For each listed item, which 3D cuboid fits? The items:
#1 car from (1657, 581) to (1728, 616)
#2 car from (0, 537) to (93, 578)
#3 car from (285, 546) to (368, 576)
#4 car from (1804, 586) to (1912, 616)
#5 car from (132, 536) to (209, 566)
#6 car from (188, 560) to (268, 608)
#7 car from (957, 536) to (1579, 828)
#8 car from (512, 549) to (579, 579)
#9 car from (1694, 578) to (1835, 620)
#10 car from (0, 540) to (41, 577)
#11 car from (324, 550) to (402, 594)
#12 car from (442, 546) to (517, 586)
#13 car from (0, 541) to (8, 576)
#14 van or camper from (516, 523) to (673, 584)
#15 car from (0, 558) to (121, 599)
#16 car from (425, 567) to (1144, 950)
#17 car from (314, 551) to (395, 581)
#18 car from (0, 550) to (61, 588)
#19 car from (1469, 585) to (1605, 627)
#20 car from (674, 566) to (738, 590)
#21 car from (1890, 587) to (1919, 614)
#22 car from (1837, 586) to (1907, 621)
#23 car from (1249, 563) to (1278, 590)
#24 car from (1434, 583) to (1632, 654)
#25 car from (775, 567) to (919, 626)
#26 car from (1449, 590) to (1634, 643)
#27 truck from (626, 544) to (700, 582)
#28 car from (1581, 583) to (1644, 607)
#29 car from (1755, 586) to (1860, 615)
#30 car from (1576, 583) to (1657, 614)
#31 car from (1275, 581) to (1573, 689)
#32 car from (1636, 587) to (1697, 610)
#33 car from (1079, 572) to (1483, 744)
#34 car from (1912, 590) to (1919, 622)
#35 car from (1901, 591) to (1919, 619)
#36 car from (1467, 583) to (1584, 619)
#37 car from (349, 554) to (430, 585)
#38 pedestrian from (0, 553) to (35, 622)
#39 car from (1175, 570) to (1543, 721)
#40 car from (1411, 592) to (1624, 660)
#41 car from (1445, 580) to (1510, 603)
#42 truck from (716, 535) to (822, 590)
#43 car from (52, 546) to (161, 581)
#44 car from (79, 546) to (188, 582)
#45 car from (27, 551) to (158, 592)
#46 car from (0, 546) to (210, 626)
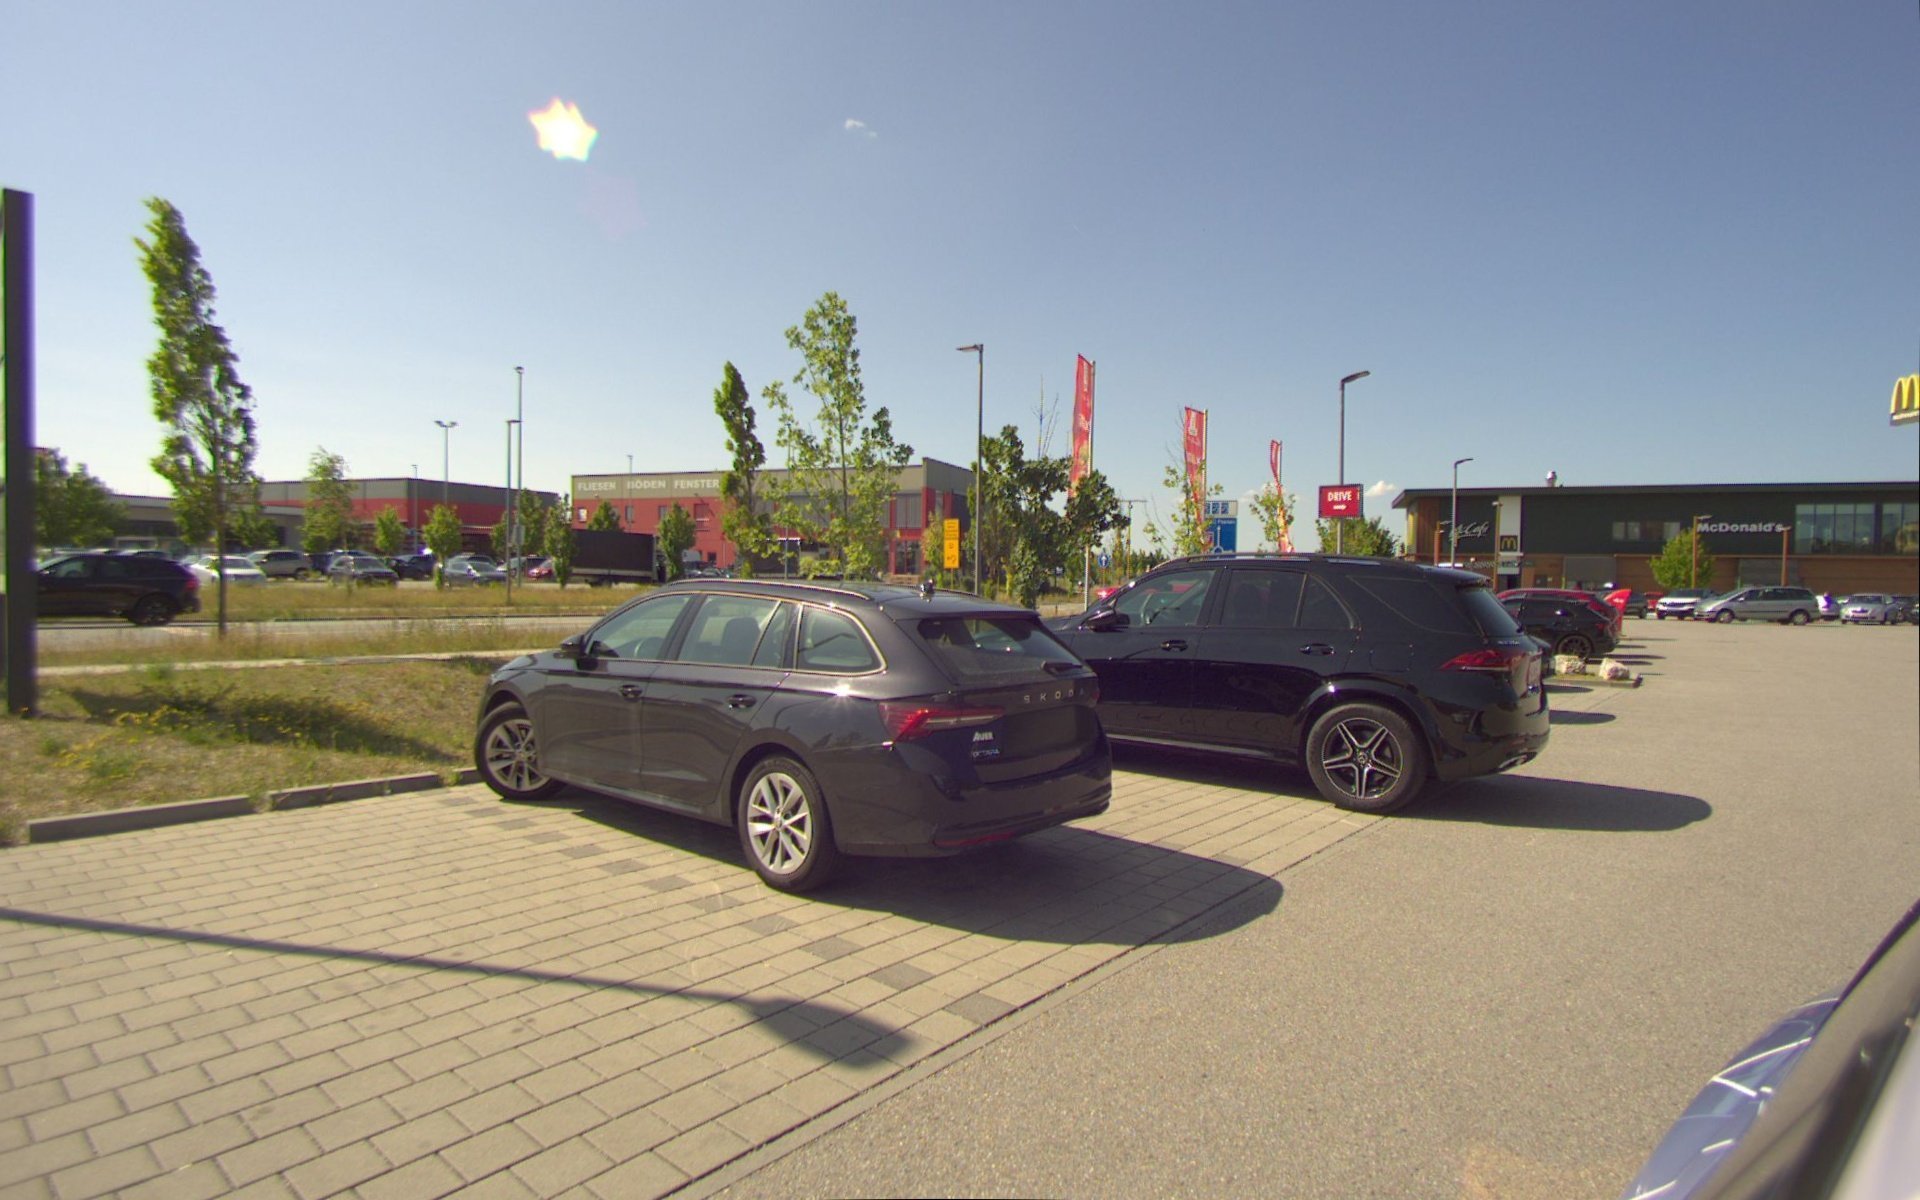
[{"bbox_3d":[37.022,-0.063,51.104,4.132,1.675,1.973,0,1,-40],"label":"car"},{"bbox_3d":[-45.866,-2.060,49.910,1.931,1.879,4.376,1,1,20],"label":"car"},{"bbox_3d":[-41.899,-2.544,67.041,1.931,1.879,4.376,1,1,20],"label":"car"},{"bbox_3d":[49.612,0.021,56.011,1.775,1.534,4.123,0,1,-24],"label":"car"},{"bbox_3d":[-57.057,-3.529,73.232,1.977,2.039,3.969,1,1,23],"label":"car"},{"bbox_3d":[-30.284,-0.664,41.846,4.273,1.879,1.968,2,1,44],"label":"car"},{"bbox_3d":[2.330,0.466,8.334,4.565,1.782,1.870,1,1,38],"label":"car"},{"bbox_3d":[-27.730,-2.394,67.845,1.847,1.879,4.240,1,1,20],"label":"car"},{"bbox_3d":[36.675,-0.075,46.269,4.625,1.770,1.821,1,1,20],"label":"car"},{"bbox_3d":[-50.802,-2.183,52.398,1.931,1.879,4.376,1,1,20],"label":"car"},{"bbox_3d":[-26.964,-1.251,45.631,4.391,1.879,1.925,2,1,44],"label":"car"},{"bbox_3d":[-23.822,-1.672,50.082,4.391,1.879,1.925,2,1,44],"label":"car"},{"bbox_3d":[-53.123,-2.232,52.997,1.931,1.879,4.376,1,1,20],"label":"car"},{"bbox_3d":[-20.386,-2.518,56.710,7.905,3.140,2.419,0,1,-37],"label":"van or camper"},{"bbox_3d":[-43.624,-1.006,48.942,1.931,1.879,4.376,1,1,20],"label":"car"},{"bbox_3d":[-1.303,0.594,6.197,4.432,1.505,1.851,2,1,38],"label":"car"},{"bbox_3d":[-39.606,-2.198,66.306,1.931,1.879,4.376,1,1,20],"label":"car"},{"bbox_3d":[-48.620,-1.563,51.178,1.931,1.879,4.376,1,1,20],"label":"car"},{"bbox_3d":[21.540,0.184,37.975,4.311,1.487,1.816,0,1,27],"label":"car"},{"bbox_3d":[-16.506,-1.432,65.700,3.925,1.478,1.641,1,1,26],"label":"car"},{"bbox_3d":[61.736,0.047,64.911,3.953,1.633,1.720,1,1,-26],"label":"car"},{"bbox_3d":[43.689,0.160,48.465,4.132,1.545,1.973,0,1,-40],"label":"car"},{"bbox_3d":[25.773,-1.989,85.858,1.976,2.224,5.071,1,1,21],"label":"car"},{"bbox_3d":[14.363,0.392,25.472,4.200,1.658,1.928,1,1,33],"label":"car"},{"bbox_3d":[-3.595,-0.126,33.020,1.990,1.754,4.694,1,1,38],"label":"car"},{"bbox_3d":[16.862,0.426,29.601,4.559,1.430,1.723,0,1,29],"label":"car"},{"bbox_3d":[-23.745,-2.908,81.267,1.931,2.850,7.012,1,1,20],"label":"truck"},{"bbox_3d":[46.281,-0.370,71.786,4.378,1.622,1.964,1,1,-30],"label":"car"},{"bbox_3d":[46.989,0.005,56.209,1.676,1.511,4.123,0,1,-24],"label":"car"},{"bbox_3d":[33.956,-0.061,52.301,4.125,1.545,1.977,0,1,-33],"label":"car"},{"bbox_3d":[8.020,0.505,17.706,4.430,1.658,1.868,1,1,40],"label":"car"},{"bbox_3d":[48.945,-0.115,70.073,4.380,1.484,1.963,0,1,-33],"label":"car"},{"bbox_3d":[3.591,0.532,11.571,4.055,1.629,1.872,1,0,35],"label":"car"},{"bbox_3d":[46.947,0.322,47.439,4.685,1.505,1.978,1,1,-28],"label":"car"},{"bbox_3d":[53.193,0.324,53.795,1.775,1.505,4.288,0,1,-24],"label":"car"},{"bbox_3d":[24.986,0.027,44.926,4.438,1.487,1.816,0,1,28],"label":"car"},{"bbox_3d":[-36.700,-1.950,65.251,1.931,1.879,4.376,1,1,20],"label":"car"},{"bbox_3d":[-22.667,-0.303,24.238,0.744,1.620,0.691,1,0,-44],"label":"pedestrian"},{"bbox_3d":[5.276,0.492,13.629,4.306,1.724,1.871,1,1,37],"label":"car"},{"bbox_3d":[12.775,0.531,23.425,4.168,1.428,1.756,0,1,29],"label":"car"},{"bbox_3d":[39.606,-0.659,77.484,4.146,1.712,2.002,1,1,-16],"label":"car"},{"bbox_3d":[-12.994,-2.538,68.853,6.763,3.524,2.744,1,1,26],"label":"truck"},{"bbox_3d":[-48.110,-2.026,57.158,1.931,1.879,4.376,1,1,20],"label":"car"},{"bbox_3d":[-45.929,-1.977,56.365,1.931,1.879,4.376,1,1,20],"label":"car"},{"bbox_3d":[-41.268,-1.319,48.286,1.931,1.879,4.376,1,1,20],"label":"car"},{"bbox_3d":[-19.838,-0.314,22.491,1.988,1.645,4.744,1,1,36],"label":"car"}]
